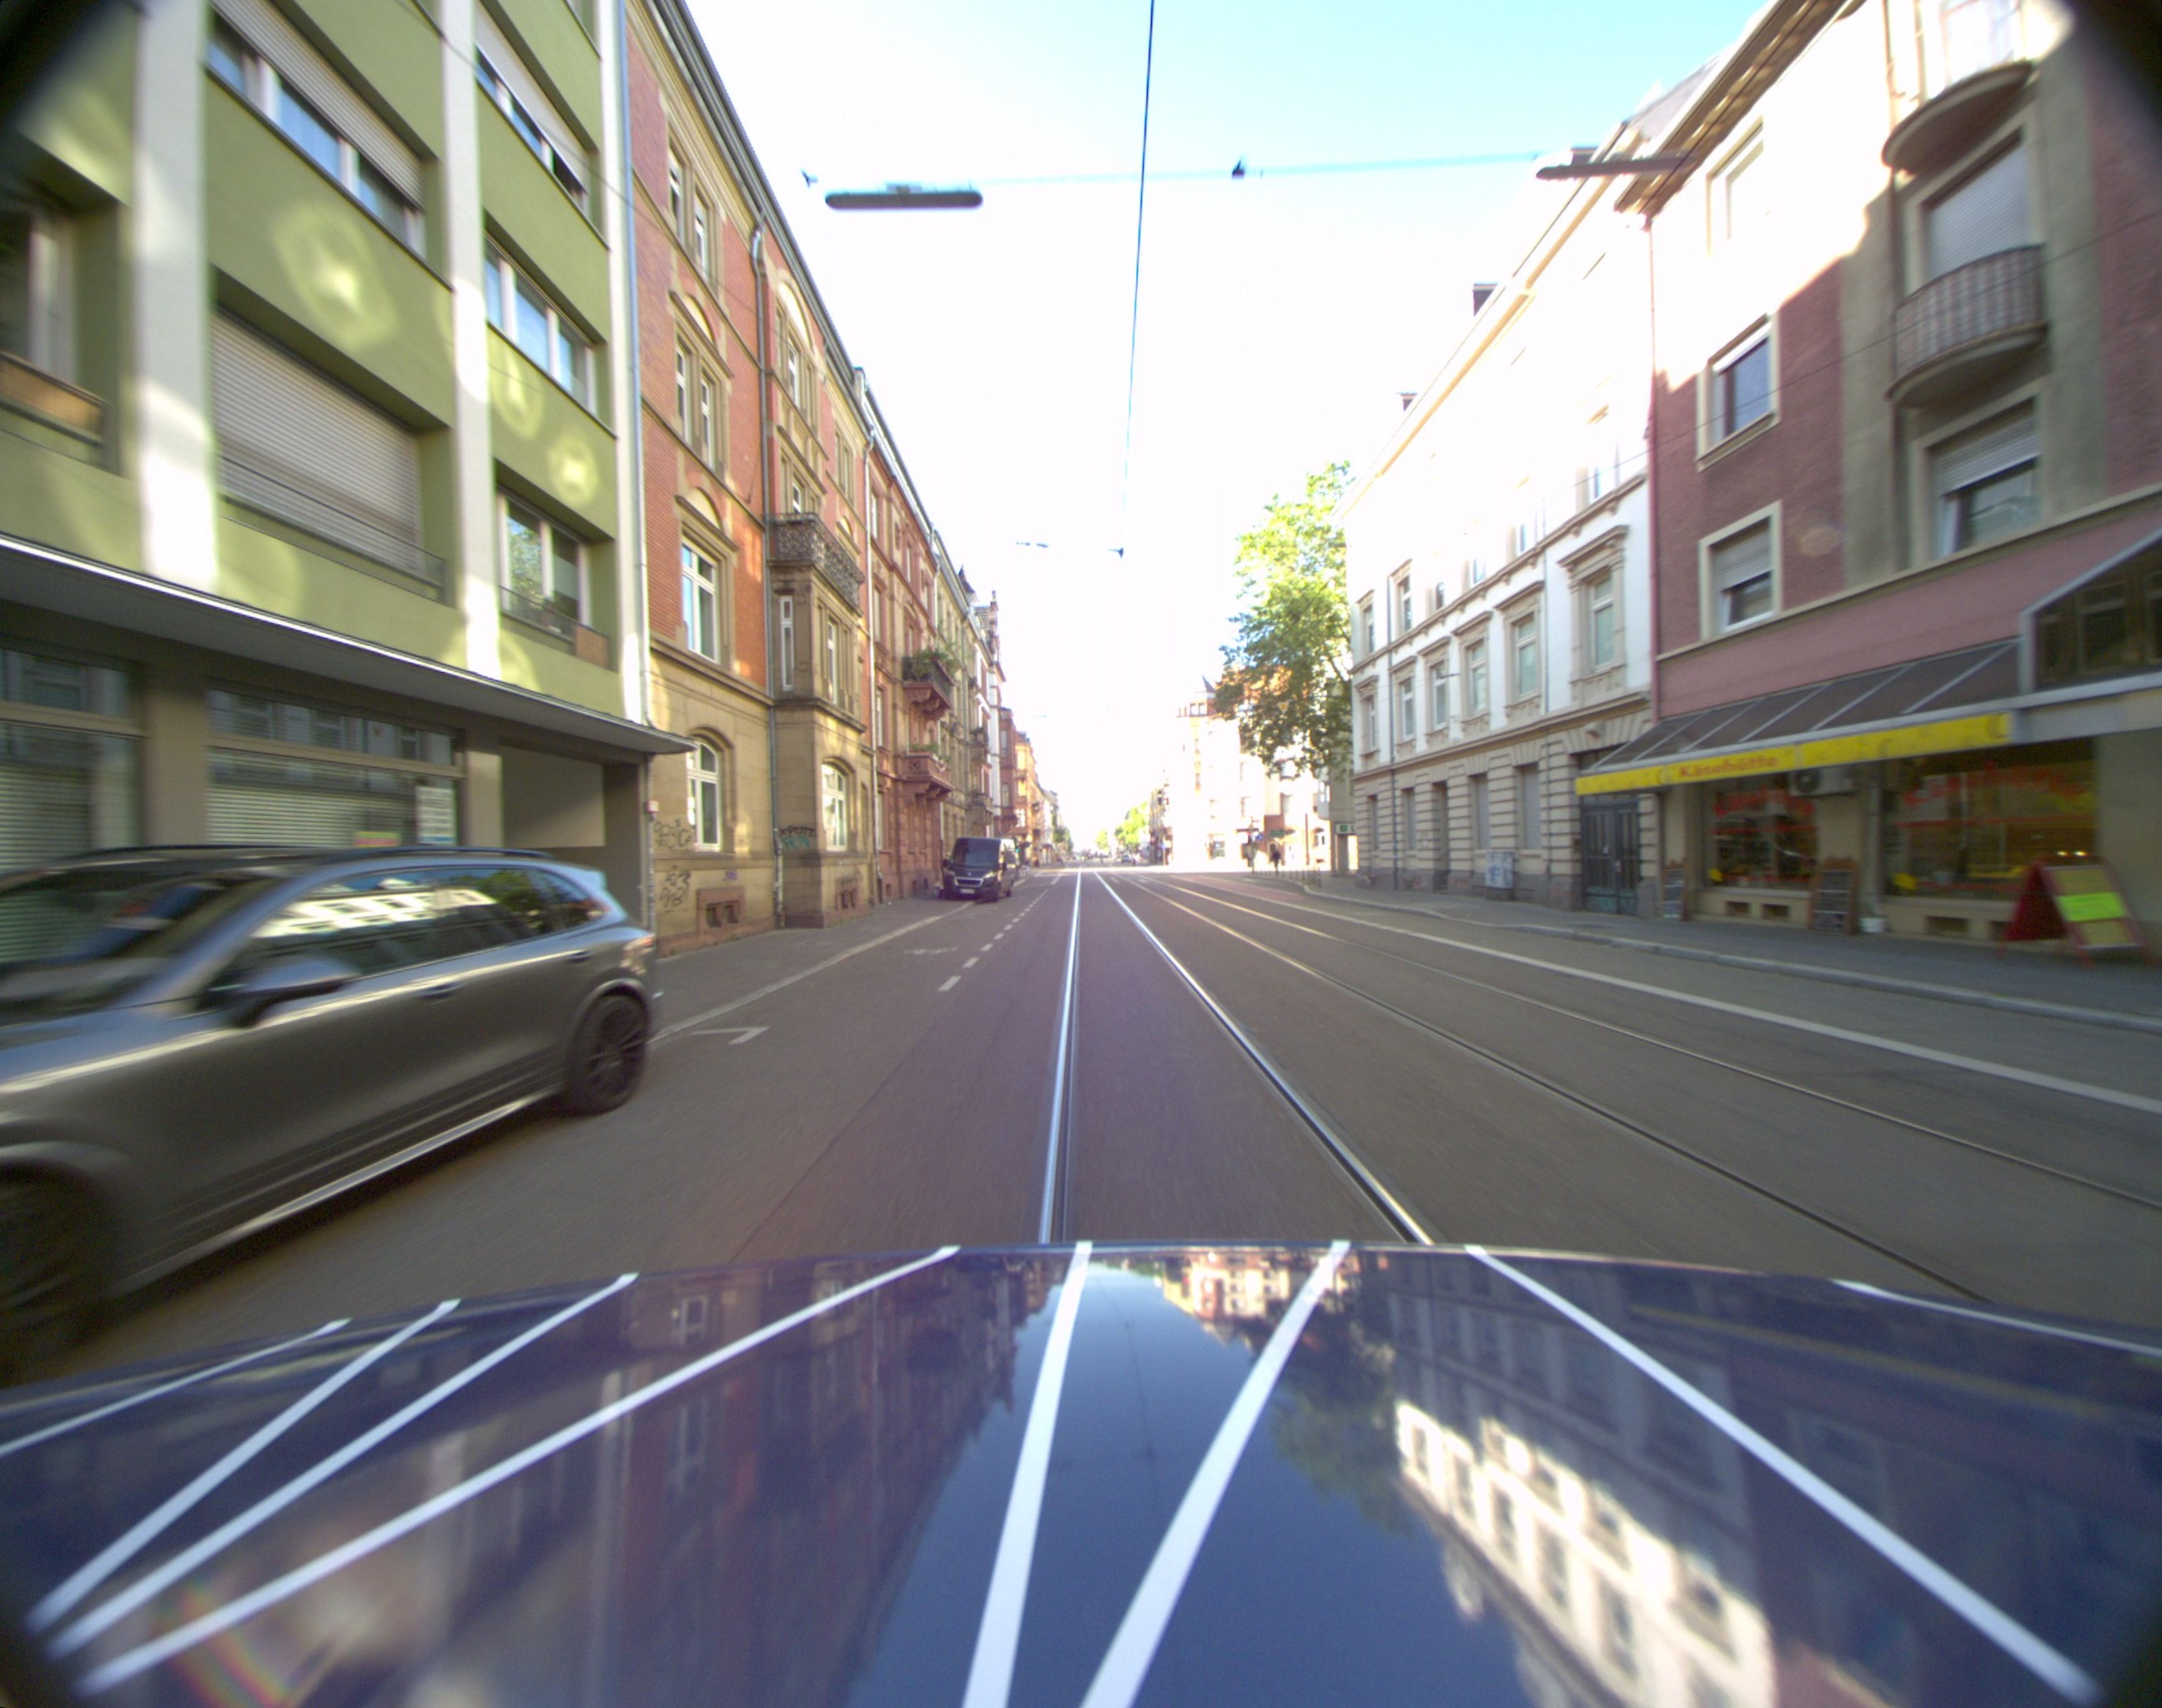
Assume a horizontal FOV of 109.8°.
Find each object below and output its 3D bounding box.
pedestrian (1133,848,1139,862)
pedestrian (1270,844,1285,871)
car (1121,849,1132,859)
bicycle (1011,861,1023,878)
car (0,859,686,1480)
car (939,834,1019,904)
[{"bbox_3d":[7.826,0.098,107.839,0.756,2.002,0.718,-2,1,0],"label":"pedestrian"},{"bbox_3d":[13.687,0.221,53.021,0.795,1.837,0.809,-2,1,3],"label":"pedestrian"},{"bbox_3d":[9.185,-0.063,153.604,1.998,2.002,4.000,-1,0,0],"label":"car"},{"bbox_3d":[-4.297,1.028,51.148,0.647,1.143,1.688,-1,0,0],"label":"bicycle"},{"bbox_3d":[-3.954,0.885,3.269,1.998,1.606,4.785,1,1,0],"label":"car"},{"bbox_3d":[-3.932,0.514,30.455,2.128,2.478,5.856,-2,1,2],"label":"car"}]
